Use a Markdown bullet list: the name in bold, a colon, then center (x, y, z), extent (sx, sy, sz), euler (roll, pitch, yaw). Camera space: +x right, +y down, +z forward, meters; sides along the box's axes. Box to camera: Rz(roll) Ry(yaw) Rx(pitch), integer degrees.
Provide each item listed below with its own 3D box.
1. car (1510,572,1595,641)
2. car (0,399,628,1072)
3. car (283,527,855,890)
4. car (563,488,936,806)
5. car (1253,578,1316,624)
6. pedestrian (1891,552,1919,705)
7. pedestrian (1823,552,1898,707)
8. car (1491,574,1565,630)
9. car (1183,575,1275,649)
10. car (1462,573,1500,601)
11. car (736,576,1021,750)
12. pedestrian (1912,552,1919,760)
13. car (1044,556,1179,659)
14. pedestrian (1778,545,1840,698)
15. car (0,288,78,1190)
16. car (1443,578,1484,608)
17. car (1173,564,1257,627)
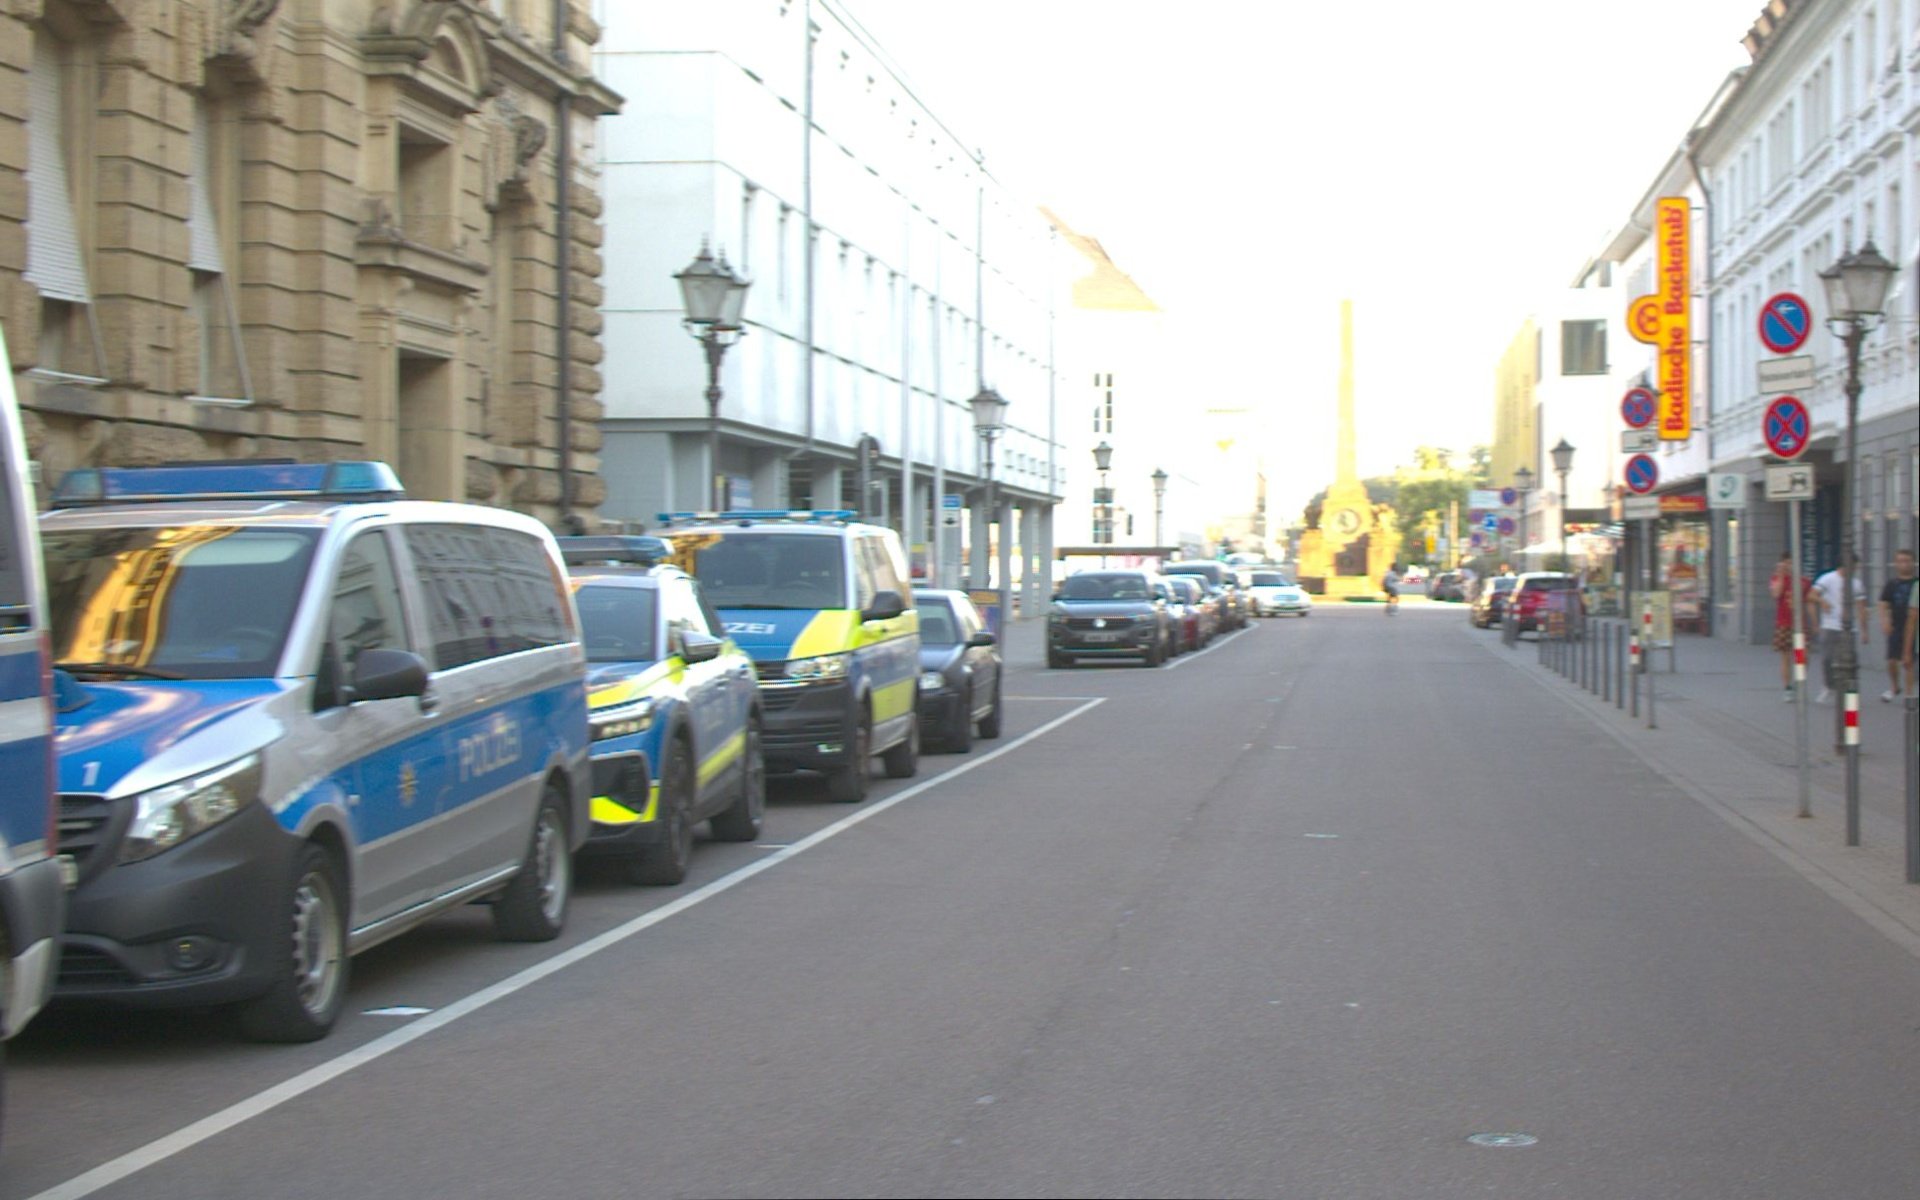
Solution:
- **car**: center (13.493, 0.129, 78.398), extent (1.760, 1.518, 3.676), euler (0, 1, 8)
- **car**: center (-2.862, 0.414, 13.341), extent (1.994, 2.080, 5.205), euler (0, 0, 8)
- **car**: center (-1.981, 0.517, 19.125), extent (1.994, 1.746, 4.988), euler (0, 0, 8)
- **car**: center (-1.393, 0.312, 24.920), extent (1.994, 2.070, 4.989), euler (0, 0, 5)
- **car**: center (10.201, 0.026, 107.979), extent (1.785, 1.404, 4.087), euler (0, 0, 8)
- **pedestrian**: center (10.988, 0.314, 39.023), extent (0.714, 1.724, 0.873), euler (0, 0, 10)
- **pedestrian**: center (10.190, 0.326, 38.932), extent (0.748, 1.724, 0.881), euler (0, 0, 11)
- **car**: center (15.199, 0.029, 92.143), extent (1.802, 1.459, 4.116), euler (0, 1, 8)
- **car**: center (6.658, 0.278, 84.850), extent (1.994, 1.722, 4.514), euler (-1, 0, 8)
- **car**: center (27.507, -0.709, 181.532), extent (1.994, 1.459, 3.999), euler (0, 0, 9)
- **car**: center (-0.668, 0.536, 31.657), extent (1.994, 1.489, 4.163), euler (0, 0, 8)
- **pedestrian**: center (8.292, 0.465, 28.674), extent (0.607, 1.724, 0.558), euler (0, 0, 9)
- **car**: center (2.480, 0.102, 55.503), extent (1.785, 1.609, 4.164), euler (0, 0, 8)
- **pedestrian**: center (10.017, 0.249, 40.569), extent (0.620, 1.783, 0.913), euler (0, 0, 9)
- **car**: center (-3.460, 0.349, 6.274), extent (1.994, 2.164, 5.206), euler (0, 1, 5)
- **car**: center (25.380, -0.358, 173.147), extent (1.994, 1.459, 3.999), euler (0, 0, 9)
- **car**: center (6.848, -0.133, 92.116), extent (1.994, 1.656, 3.999), euler (0, 1, 8)
